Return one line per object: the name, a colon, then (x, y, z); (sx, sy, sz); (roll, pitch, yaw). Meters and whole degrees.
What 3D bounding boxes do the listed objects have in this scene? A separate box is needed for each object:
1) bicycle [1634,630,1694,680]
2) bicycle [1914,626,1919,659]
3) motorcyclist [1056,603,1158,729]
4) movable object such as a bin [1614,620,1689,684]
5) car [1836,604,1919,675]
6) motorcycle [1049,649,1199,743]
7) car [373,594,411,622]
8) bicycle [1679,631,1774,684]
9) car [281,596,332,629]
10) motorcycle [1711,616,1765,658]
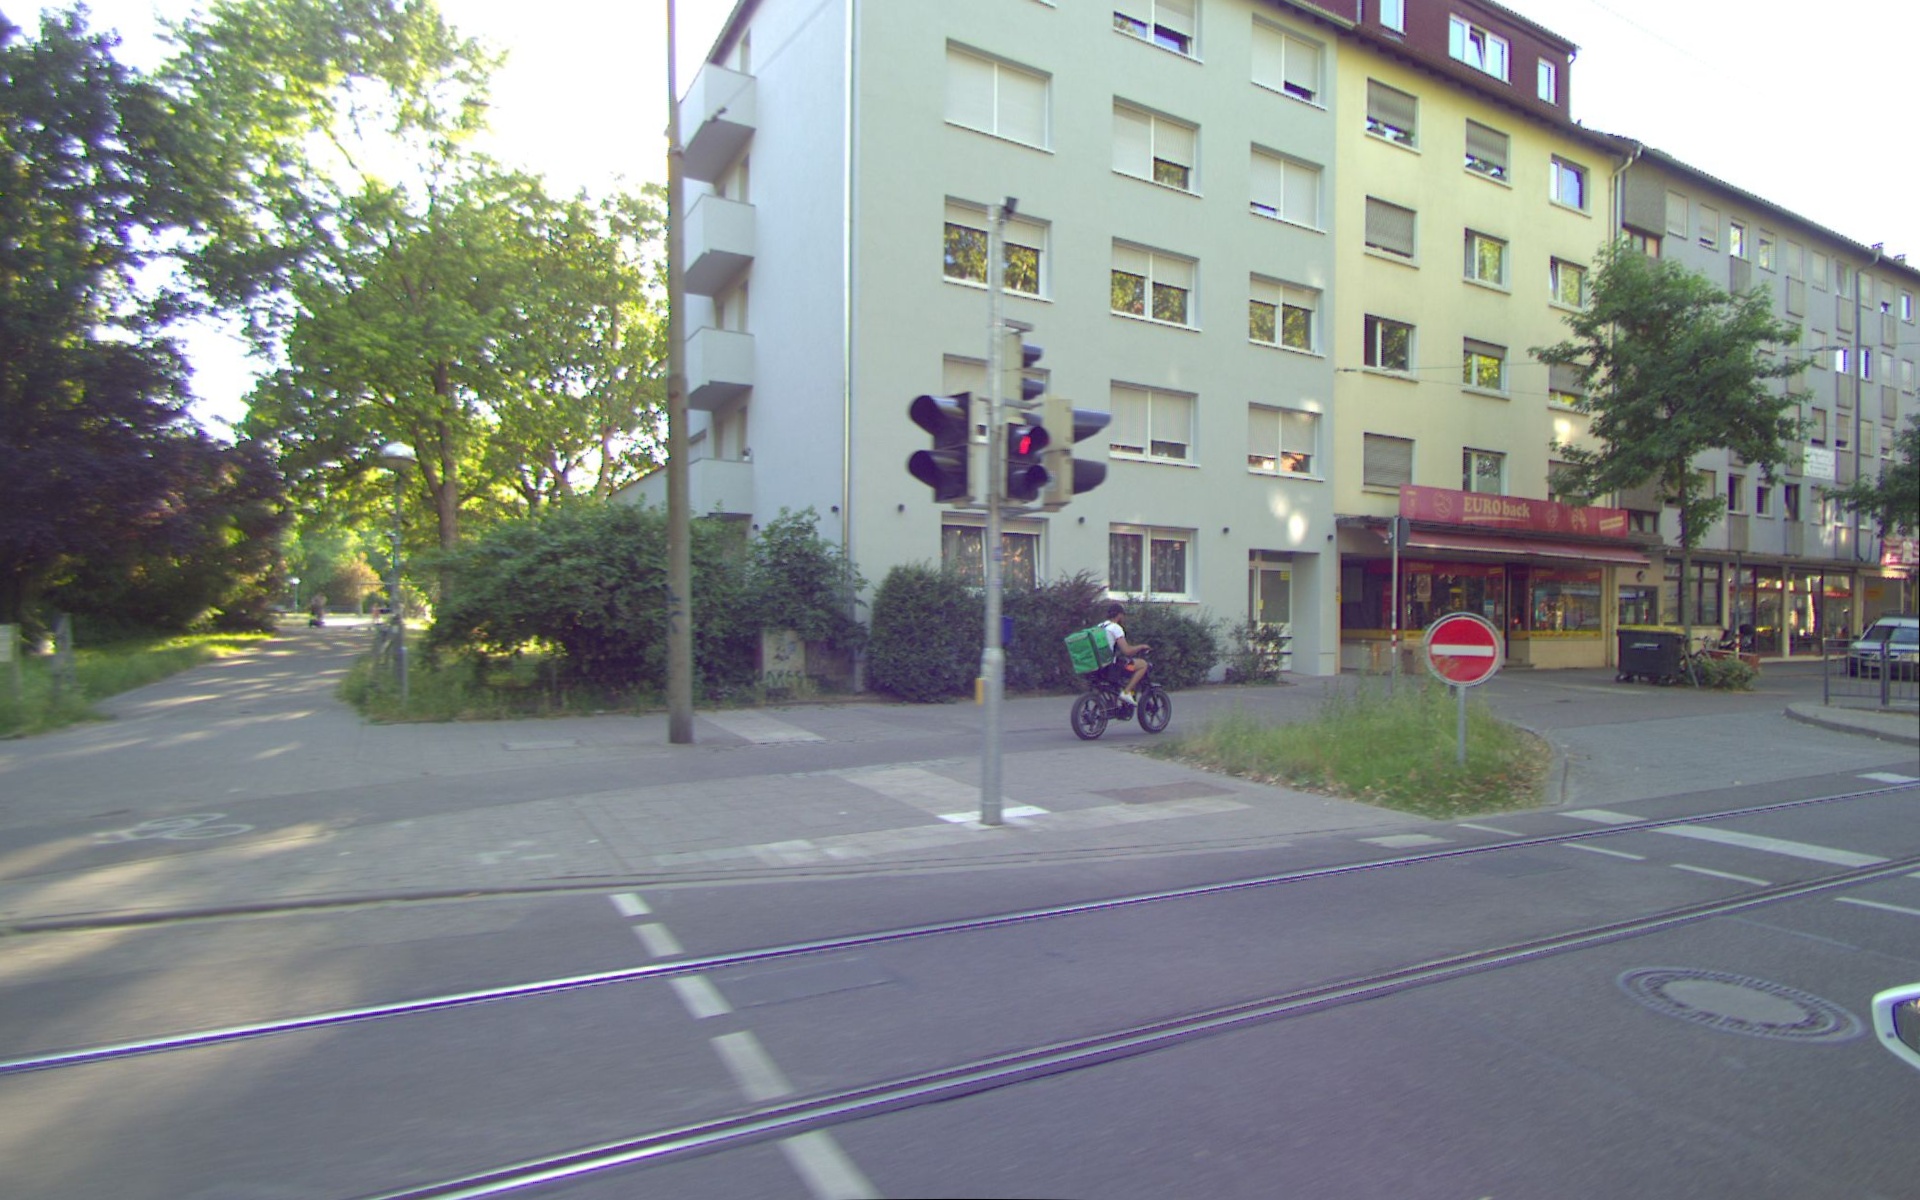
bicycle: (17.013, 1.317, 24.273); (1.780, 1.122, 0.495); (1, 3, -33)
bicycle: (32.549, 1.449, 32.540); (0.628, 1.088, 2.244); (1, 2, -27)
motorcyclist: (1.779, 0.775, 12.164); (1.090, 1.469, 0.593); (1, -1, -29)
movable object such as a bin: (15.991, 1.186, 23.257); (0.775, 1.366, 1.163); (1, 3, -33)
car: (27.651, 1.136, 29.516); (3.952, 1.966, 1.680); (1, -1, -30)
motorcycle: (2.019, 1.144, 12.284); (1.854, 1.046, 0.593); (1, -1, -29)
car: (-31.977, 0.489, 56.645); (1.778, 1.530, 3.970); (1, -1, -29)
bicycle: (18.073, 1.340, 23.707); (0.875, 1.089, 1.526); (0, 2, -30)
car: (-31.850, 0.613, 49.061); (1.778, 1.530, 3.970); (1, -1, -29)
motorcycle: (24.875, 1.175, 32.099); (2.195, 1.328, 0.596); (1, -1, -30)
